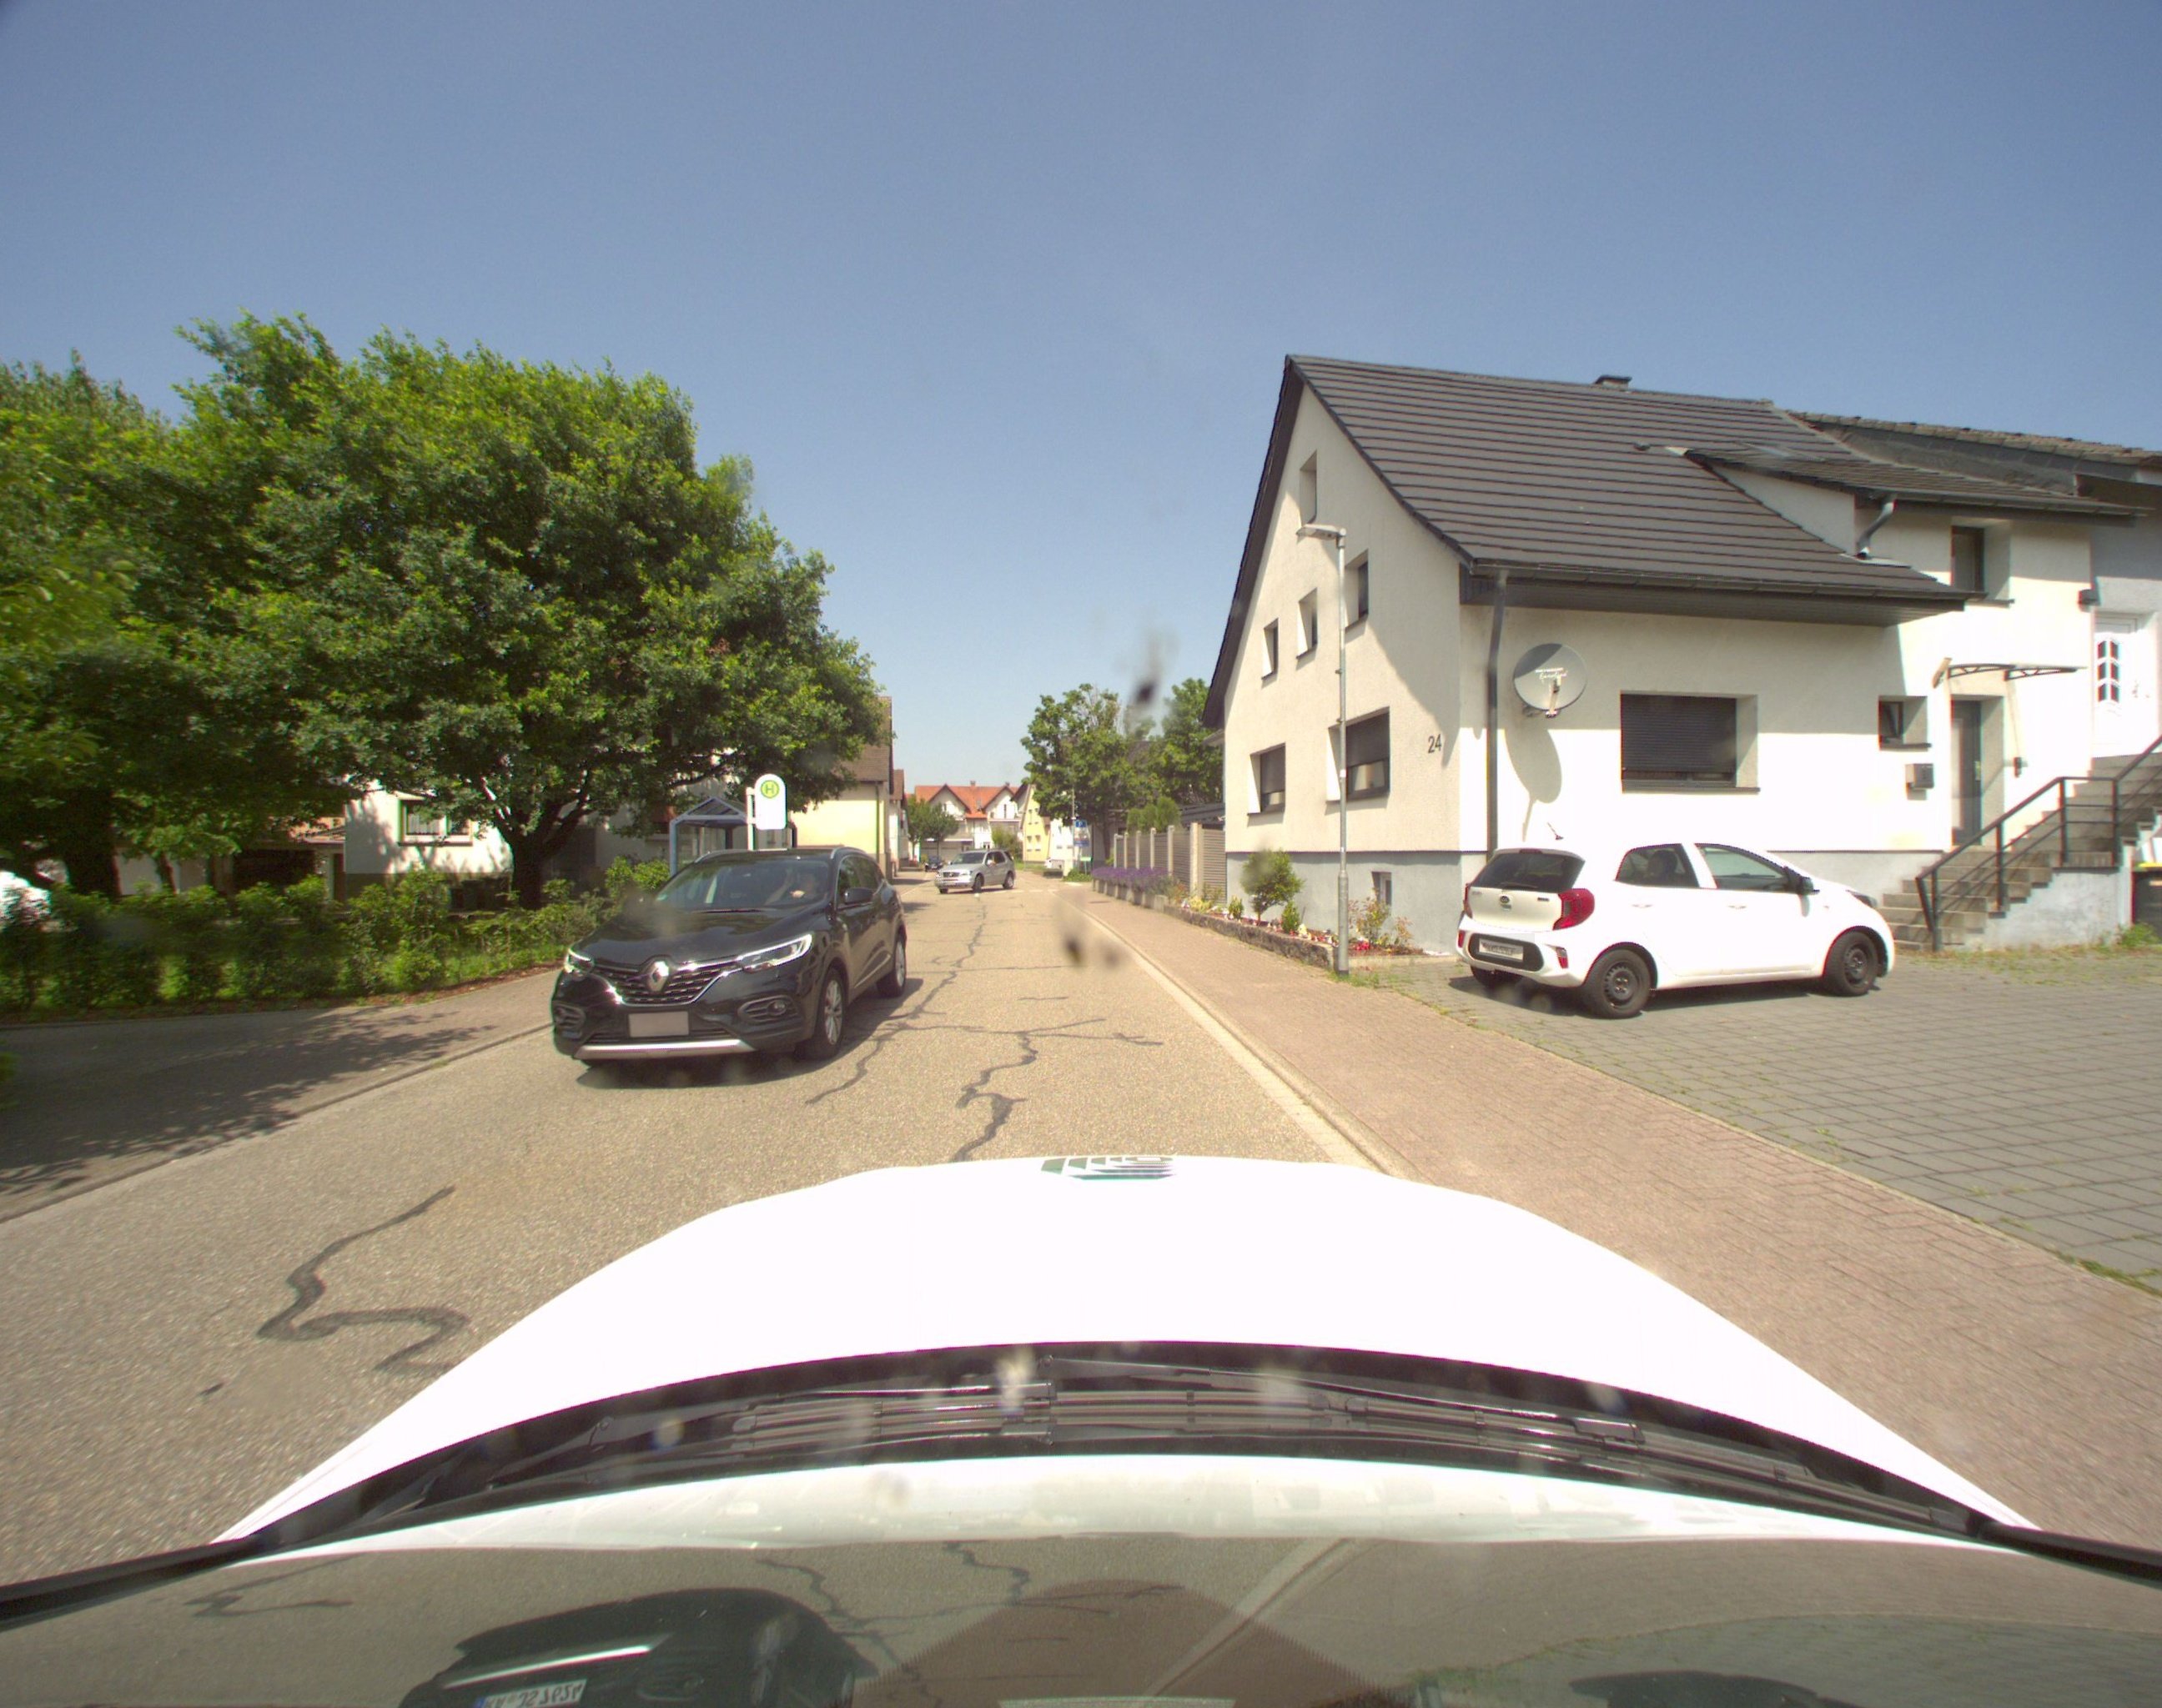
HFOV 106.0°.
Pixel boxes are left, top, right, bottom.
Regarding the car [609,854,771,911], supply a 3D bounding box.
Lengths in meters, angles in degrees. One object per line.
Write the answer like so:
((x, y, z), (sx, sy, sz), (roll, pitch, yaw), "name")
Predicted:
((-12.110, 0.855, 25.451), (4.158, 1.538, 1.769), (-2, 0, -8), "car")

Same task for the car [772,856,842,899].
((-9.999, 0.811, 29.968), (1.778, 1.434, 4.043), (0, 0, -9), "car")

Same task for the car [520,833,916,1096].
((-2.723, 0.693, 7.253), (1.771, 1.623, 4.102), (-2, 0, -2), "car")

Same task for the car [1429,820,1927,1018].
((5.463, 0.491, 7.663), (3.658, 1.474, 1.759), (-2, 1, -11), "car")

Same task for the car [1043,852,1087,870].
((-1.219, 0.540, 61.648), (3.051, 1.345, 1.414), (-1, -1, -18), "car")

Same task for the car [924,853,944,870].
((-13.531, 0.687, 74.914), (1.628, 1.486, 3.984), (-1, 0, -12), "car")

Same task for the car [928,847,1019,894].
((-4.427, 0.634, 34.208), (1.869, 1.767, 4.354), (-2, 0, 21), "car")
